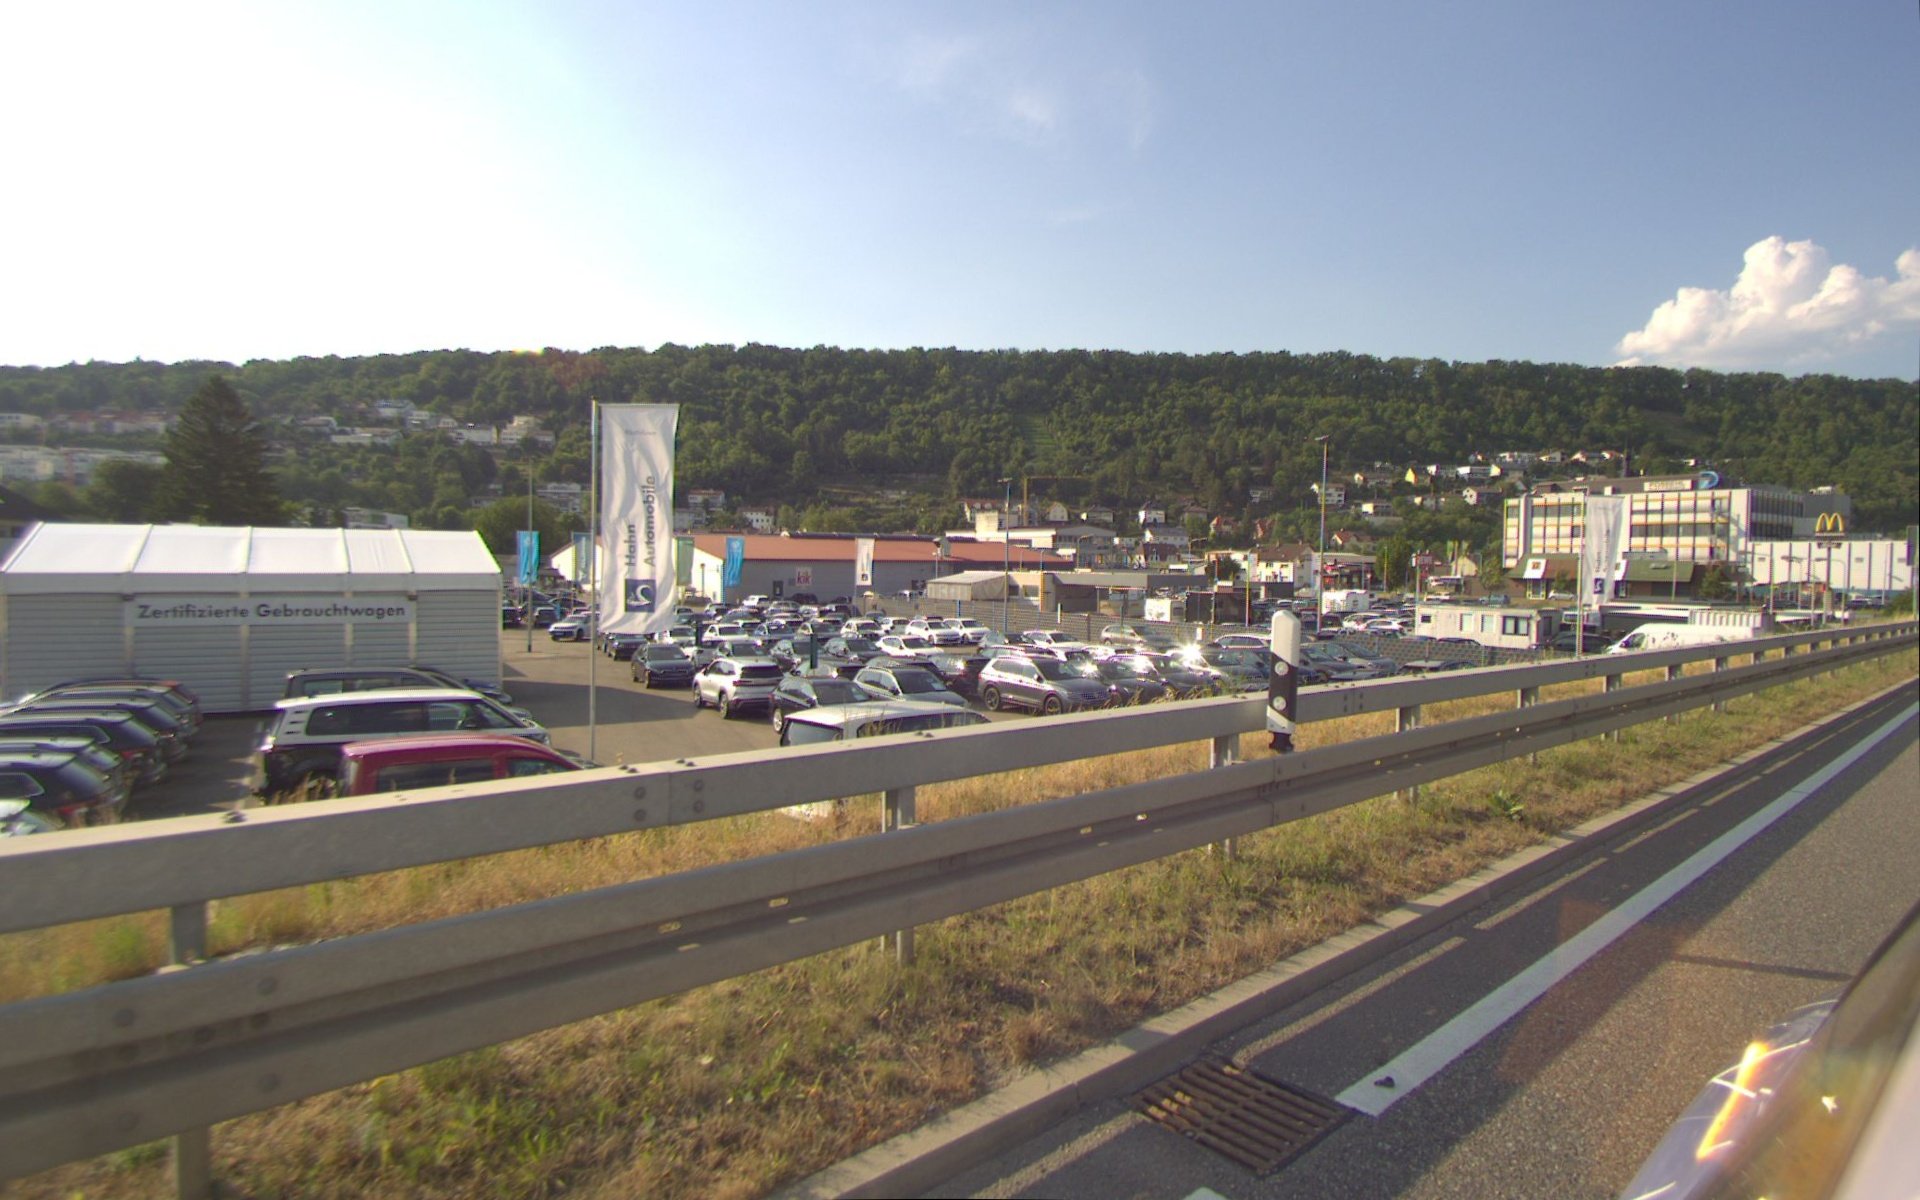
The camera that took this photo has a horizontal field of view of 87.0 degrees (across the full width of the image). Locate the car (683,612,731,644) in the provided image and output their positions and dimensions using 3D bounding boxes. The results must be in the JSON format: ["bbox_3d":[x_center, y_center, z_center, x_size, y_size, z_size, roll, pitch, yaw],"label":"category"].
[{"bbox_3d":[-14.441,1.555,57.612,1.721,1.662,3.969,0,0,-29],"label":"car"}]

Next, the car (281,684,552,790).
[{"bbox_3d":[-10.852,2.652,20.430,4.636,1.541,1.887,-1,0,-31],"label":"car"}]

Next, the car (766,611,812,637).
[{"bbox_3d":[-11.963,1.664,71.020,1.855,1.657,4.427,0,0,10],"label":"car"}]

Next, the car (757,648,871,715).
[{"bbox_3d":[-4.627,2.451,31.528,1.849,1.657,4.441,-1,1,-33],"label":"car"}]

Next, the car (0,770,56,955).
[{"bbox_3d":[-12.312,2.932,10.169,4.642,1.657,1.885,-1,0,-37],"label":"car"}]

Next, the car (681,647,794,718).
[{"bbox_3d":[-6.676,2.367,30.017,1.849,1.657,4.441,-1,1,-33],"label":"car"}]

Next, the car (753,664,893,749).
[{"bbox_3d":[-3.618,2.633,26.013,1.849,1.657,4.441,-1,1,-33],"label":"car"}]

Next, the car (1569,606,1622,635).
[{"bbox_3d":[46.210,1.466,73.541,4.739,1.976,1.760,-1,0,-38],"label":"car"}]

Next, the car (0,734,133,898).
[{"bbox_3d":[-13.033,2.757,12.205,4.642,1.657,1.885,-1,0,-37],"label":"car"}]

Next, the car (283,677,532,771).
[{"bbox_3d":[-12.062,2.640,22.312,4.636,1.541,1.887,-1,0,-31],"label":"car"}]

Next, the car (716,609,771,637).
[{"bbox_3d":[-12.686,1.303,59.141,1.796,1.521,4.002,-1,1,-33],"label":"car"}]

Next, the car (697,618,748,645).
[{"bbox_3d":[-16.308,2.139,69.626,1.855,1.657,4.427,0,0,10],"label":"car"}]

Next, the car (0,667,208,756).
[{"bbox_3d":[-20.704,2.634,24.481,3.924,1.705,1.781,-1,0,-34],"label":"car"}]

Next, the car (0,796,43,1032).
[{"bbox_3d":[-10.248,2.790,7.765,4.645,1.646,1.884,-1,0,-39],"label":"car"}]

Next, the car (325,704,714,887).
[{"bbox_3d":[-5.947,2.497,13.925,4.640,1.646,1.885,-1,0,-36],"label":"car"}]

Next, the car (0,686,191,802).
[{"bbox_3d":[-16.528,2.598,18.410,3.924,1.705,1.781,-1,0,-34],"label":"car"}]

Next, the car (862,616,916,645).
[{"bbox_3d":[-4.525,1.874,63.879,1.723,1.662,3.967,0,0,-33],"label":"car"}]

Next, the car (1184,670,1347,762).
[{"bbox_3d":[7.269,2.644,23.880,4.237,1.646,1.740,-1,0,-41],"label":"car"}]

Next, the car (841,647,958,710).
[{"bbox_3d":[-2.053,2.483,33.057,1.849,1.657,4.441,-1,1,-33],"label":"car"}]

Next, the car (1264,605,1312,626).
[{"bbox_3d":[26.867,1.276,82.907,3.367,1.636,1.810,0,0,-17],"label":"car"}]

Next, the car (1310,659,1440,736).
[{"bbox_3d":[11.492,2.607,27.893,4.240,1.646,1.739,-1,1,-44],"label":"car"}]

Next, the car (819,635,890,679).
[{"bbox_3d":[-4.446,2.340,42.296,1.597,1.594,3.488,0,0,-33],"label":"car"}]

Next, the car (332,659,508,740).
[{"bbox_3d":[-14.131,2.544,26.558,3.924,1.705,1.781,-1,0,-34],"label":"car"}]

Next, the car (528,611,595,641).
[{"bbox_3d":[-24.728,1.590,62.958,1.855,1.657,4.427,0,0,10],"label":"car"}]

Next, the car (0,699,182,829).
[{"bbox_3d":[-15.181,2.672,16.422,3.924,1.705,1.781,-1,0,-34],"label":"car"}]

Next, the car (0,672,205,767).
[{"bbox_3d":[-19.365,2.614,22.590,3.924,1.705,1.781,-1,0,-34],"label":"car"}]

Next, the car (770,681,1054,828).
[{"bbox_3d":[-0.648,2.372,16.651,1.880,1.646,4.654,0,1,44],"label":"car"}]

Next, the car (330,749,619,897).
[{"bbox_3d":[-7.612,3.384,15.984,3.924,1.490,1.675,-1,0,-34],"label":"car"}]

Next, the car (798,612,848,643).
[{"bbox_3d":[-8.421,1.629,61.983,1.746,1.749,4.004,0,0,-29],"label":"car"}]

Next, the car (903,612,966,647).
[{"bbox_3d":[-1.553,1.671,59.258,1.889,1.883,4.002,0,0,-33],"label":"car"}]

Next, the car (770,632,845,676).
[{"bbox_3d":[-6.194,2.121,40.729,1.745,1.474,4.005,0,1,-28],"label":"car"}]

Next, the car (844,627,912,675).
[{"bbox_3d":[-3.975,2.388,48.516,1.959,2.039,4.007,0,0,-25],"label":"car"}]

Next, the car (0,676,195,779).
[{"bbox_3d":[-18.302,2.548,20.286,4.640,1.657,1.886,-1,0,-35],"label":"car"}]

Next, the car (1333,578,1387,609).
[{"bbox_3d":[33.565,-0.569,84.869,5.369,2.581,1.760,-1,0,-38],"label":"car"}]

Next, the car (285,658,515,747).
[{"bbox_3d":[-13.221,2.344,24.095,4.636,1.657,1.887,-1,0,-31],"label":"car"}]

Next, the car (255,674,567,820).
[{"bbox_3d":[-9.596,2.462,17.957,4.636,1.955,1.887,-1,0,-31],"label":"car"}]

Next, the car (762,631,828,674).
[{"bbox_3d":[-7.615,2.365,46.500,1.746,1.749,4.004,0,0,-29],"label":"car"}]

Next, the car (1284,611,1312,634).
[{"bbox_3d":[25.022,1.628,74.834,1.662,1.590,3.746,0,0,23],"label":"car"}]

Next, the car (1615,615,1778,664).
[{"bbox_3d":[34.399,1.778,47.472,1.963,2.039,5.896,0,0,-37],"label":"car"}]

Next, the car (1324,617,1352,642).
[{"bbox_3d":[26.536,2.046,70.982,1.662,1.590,3.746,0,0,23],"label":"car"}]

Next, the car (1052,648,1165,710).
[{"bbox_3d":[4.557,2.394,31.520,1.597,1.594,3.488,0,0,-33],"label":"car"}]

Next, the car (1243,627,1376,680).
[{"bbox_3d":[12.811,1.899,37.347,1.849,1.657,4.441,-1,1,-33],"label":"car"}]

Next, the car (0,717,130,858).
[{"bbox_3d":[-14.615,2.725,14.041,4.640,1.657,1.886,-1,0,-35],"label":"car"}]

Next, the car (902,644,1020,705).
[{"bbox_3d":[-0.037,2.446,34.068,1.849,1.657,4.441,-1,1,-33],"label":"car"}]

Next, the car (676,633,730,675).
[{"bbox_3d":[-11.312,2.344,44.464,1.595,1.594,3.492,0,0,-26],"label":"car"}]
